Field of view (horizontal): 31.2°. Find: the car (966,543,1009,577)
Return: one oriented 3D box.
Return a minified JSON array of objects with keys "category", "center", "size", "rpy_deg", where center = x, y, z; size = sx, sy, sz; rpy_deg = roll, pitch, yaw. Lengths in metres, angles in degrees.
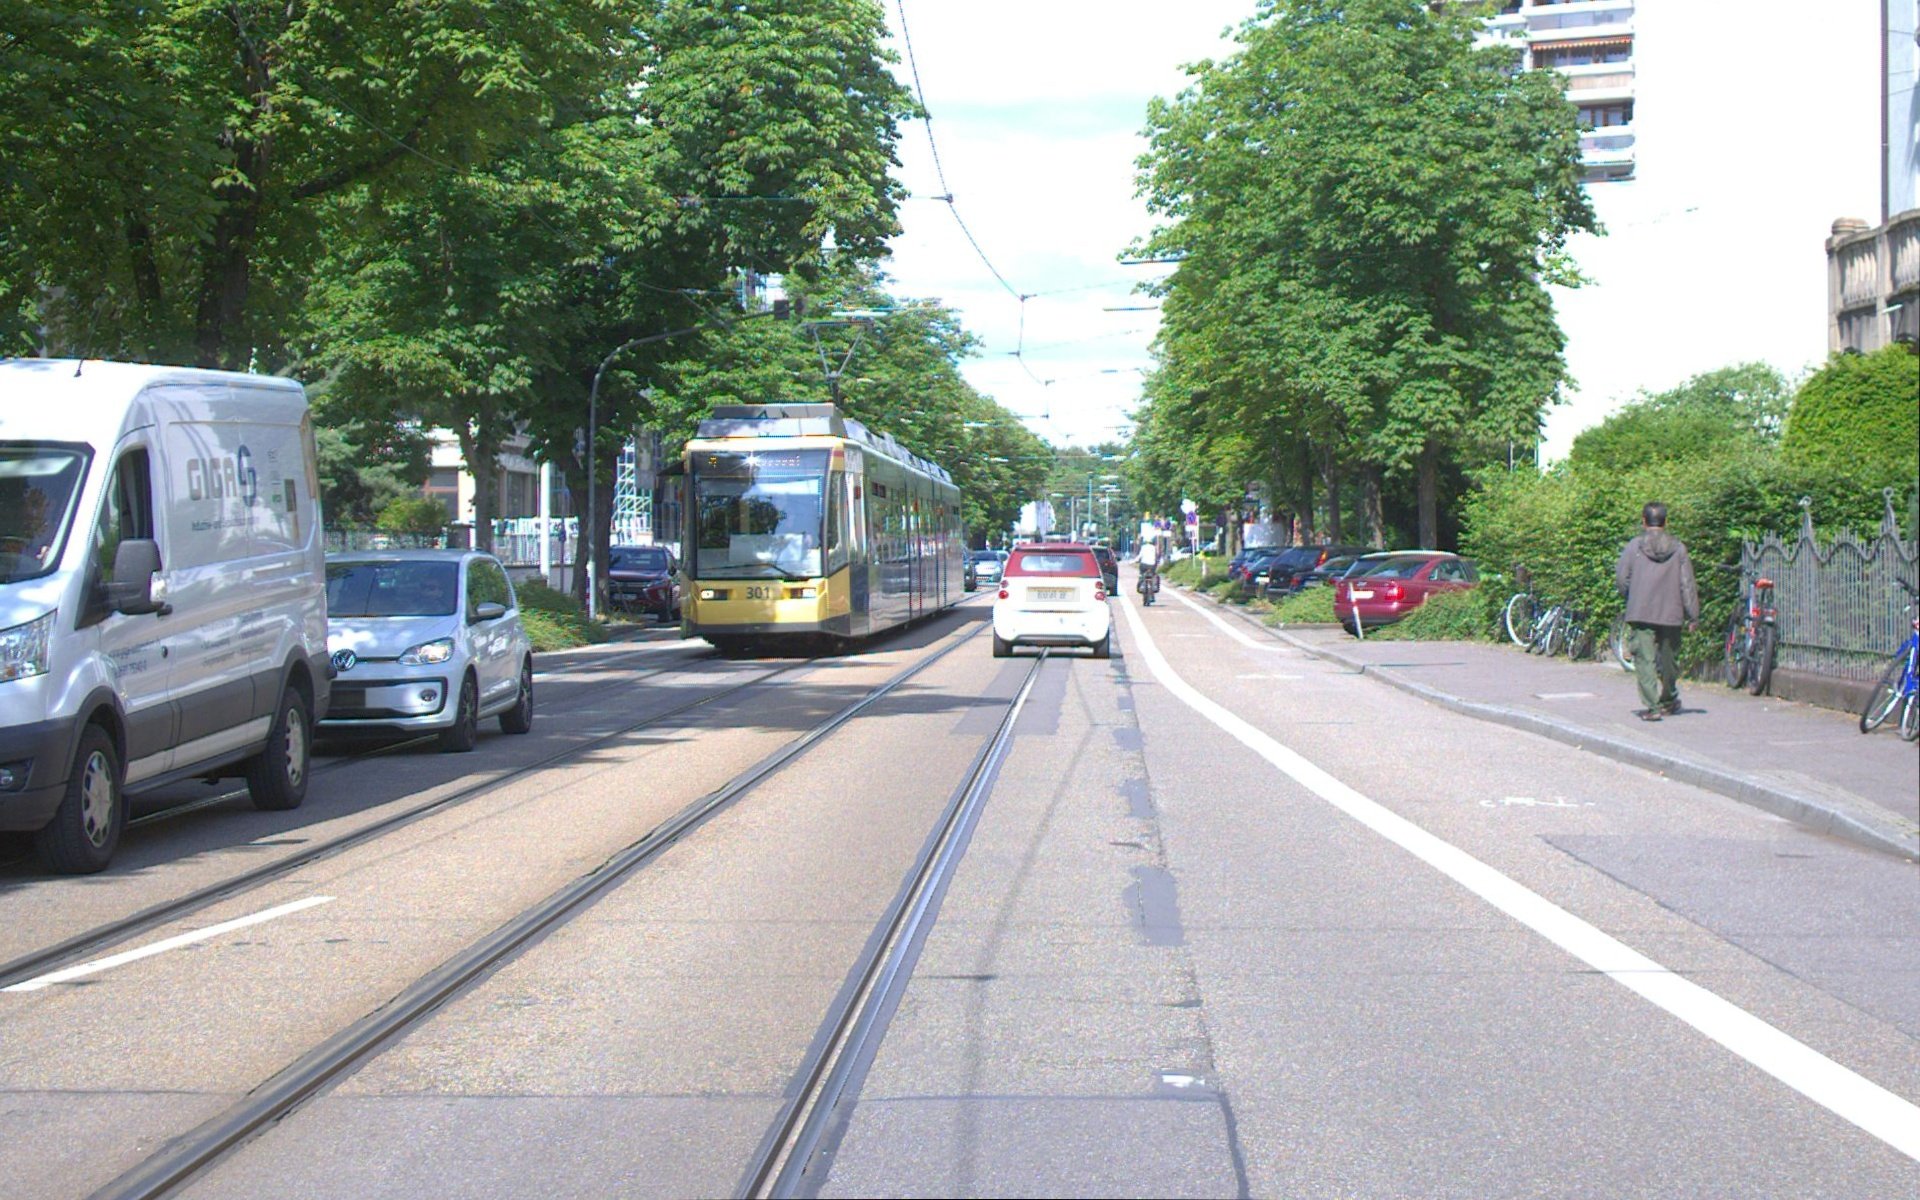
[{"category":"car","center":[1.264,-1.793,154.752],"size":[1.773,1.411,3.852],"rpy_deg":[-3,0,2]}]

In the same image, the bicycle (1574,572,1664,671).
[{"category":"bicycle","center":[6.909,0.211,36.095],"size":[0.612,0.985,1.872],"rpy_deg":[-2,0,2]}]

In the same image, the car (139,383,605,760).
[{"category":"car","center":[-4.227,-0.245,25.975],"size":[2.316,2.499,6.363],"rpy_deg":[0,1,1]}]

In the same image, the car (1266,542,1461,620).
[{"category":"car","center":[8.750,-0.411,74.365],"size":[3.988,1.569,1.905],"rpy_deg":[1,1,-39]}]

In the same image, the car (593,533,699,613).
[{"category":"car","center":[-6.886,-0.605,75.729],"size":[1.750,1.660,4.721],"rpy_deg":[2,1,1]}]

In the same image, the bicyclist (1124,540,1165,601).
[{"category":"bicyclist","center":[4.713,-0.749,87.909],"size":[0.890,1.523,1.084],"rpy_deg":[2,0,9]}]

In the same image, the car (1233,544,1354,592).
[{"category":"car","center":[10.755,-1.035,110.630],"size":[3.989,1.481,1.615],"rpy_deg":[-2,1,-43]}]

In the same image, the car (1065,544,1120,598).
[{"category":"car","center":[4.134,-0.929,107.485],"size":[1.665,1.619,3.620],"rpy_deg":[0,1,2]}]

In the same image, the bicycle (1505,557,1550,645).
[{"category":"bicycle","center":[7.410,0.004,44.906],"size":[0.279,1.105,2.010],"rpy_deg":[-3,0,2]}]

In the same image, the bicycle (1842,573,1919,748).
[{"category":"bicycle","center":[6.526,0.395,23.740],"size":[0.451,1.118,1.844],"rpy_deg":[-2,1,3]}]

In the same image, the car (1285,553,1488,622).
[{"category":"car","center":[8.878,-0.253,71.420],"size":[4.164,1.344,1.904],"rpy_deg":[1,1,-42]}]

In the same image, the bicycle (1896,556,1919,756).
[{"category":"bicycle","center":[6.301,0.364,21.285],"size":[0.451,1.256,1.844],"rpy_deg":[-2,1,-1]}]

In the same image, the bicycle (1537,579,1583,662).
[{"category":"bicycle","center":[7.228,0.235,41.449],"size":[0.273,0.904,1.668],"rpy_deg":[-3,2,2]}]

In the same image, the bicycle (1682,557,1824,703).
[{"category":"bicycle","center":[6.946,0.239,30.219],"size":[0.740,1.227,2.516],"rpy_deg":[0,0,2]}]

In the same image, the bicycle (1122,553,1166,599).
[{"category":"bicycle","center":[4.699,-0.610,87.739],"size":[0.875,1.122,2.135],"rpy_deg":[2,1,8]}]

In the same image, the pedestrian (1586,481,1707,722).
[{"category":"pedestrian","center":[5.352,0.010,26.829],"size":[0.787,1.855,0.580],"rpy_deg":[0,1,-4]}]

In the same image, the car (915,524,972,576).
[{"category":"car","center":[-0.553,-1.743,120.924],"size":[1.826,1.721,4.391],"rpy_deg":[2,1,1]}]

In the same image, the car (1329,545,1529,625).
[{"category":"car","center":[8.856,-0.285,64.697],"size":[3.989,1.456,1.535],"rpy_deg":[0,1,-43]}]

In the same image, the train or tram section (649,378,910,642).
[{"category":"train or tram section","center":[-2.479,-1.245,51.716],"size":[2.653,3.425,12.314],"rpy_deg":[-2,0,3]}]

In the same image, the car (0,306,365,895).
[{"category":"car","center":[-4.945,-0.088,17.816],"size":[2.316,2.499,6.363],"rpy_deg":[0,2,3]}]

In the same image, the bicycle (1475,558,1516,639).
[{"category":"bicycle","center":[7.538,-0.028,48.423],"size":[0.279,1.105,2.010],"rpy_deg":[-3,0,2]}]

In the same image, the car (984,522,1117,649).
[{"category":"car","center":[1.277,-0.211,47.178],"size":[1.665,1.619,3.620],"rpy_deg":[2,1,3]}]

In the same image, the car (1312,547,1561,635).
[{"category":"car","center":[8.092,-0.165,58.164],"size":[4.148,1.418,1.866],"rpy_deg":[-1,1,-40]}]

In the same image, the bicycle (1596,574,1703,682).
[{"category":"bicycle","center":[6.741,0.257,33.701],"size":[0.610,0.992,2.362],"rpy_deg":[-3,0,2]}]

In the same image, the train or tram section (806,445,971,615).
[{"category":"train or tram section","center":[-1.421,-1.473,76.263],"size":[2.653,3.344,14.107],"rpy_deg":[-2,0,3]}]

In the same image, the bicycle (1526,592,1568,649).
[{"category":"bicycle","center":[7.340,0.248,42.999],"size":[0.279,0.675,1.559],"rpy_deg":[-3,0,2]}]

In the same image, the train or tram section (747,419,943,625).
[{"category":"train or tram section","center":[-1.968,-1.363,63.569],"size":[2.653,3.377,11.472],"rpy_deg":[-2,0,3]}]
